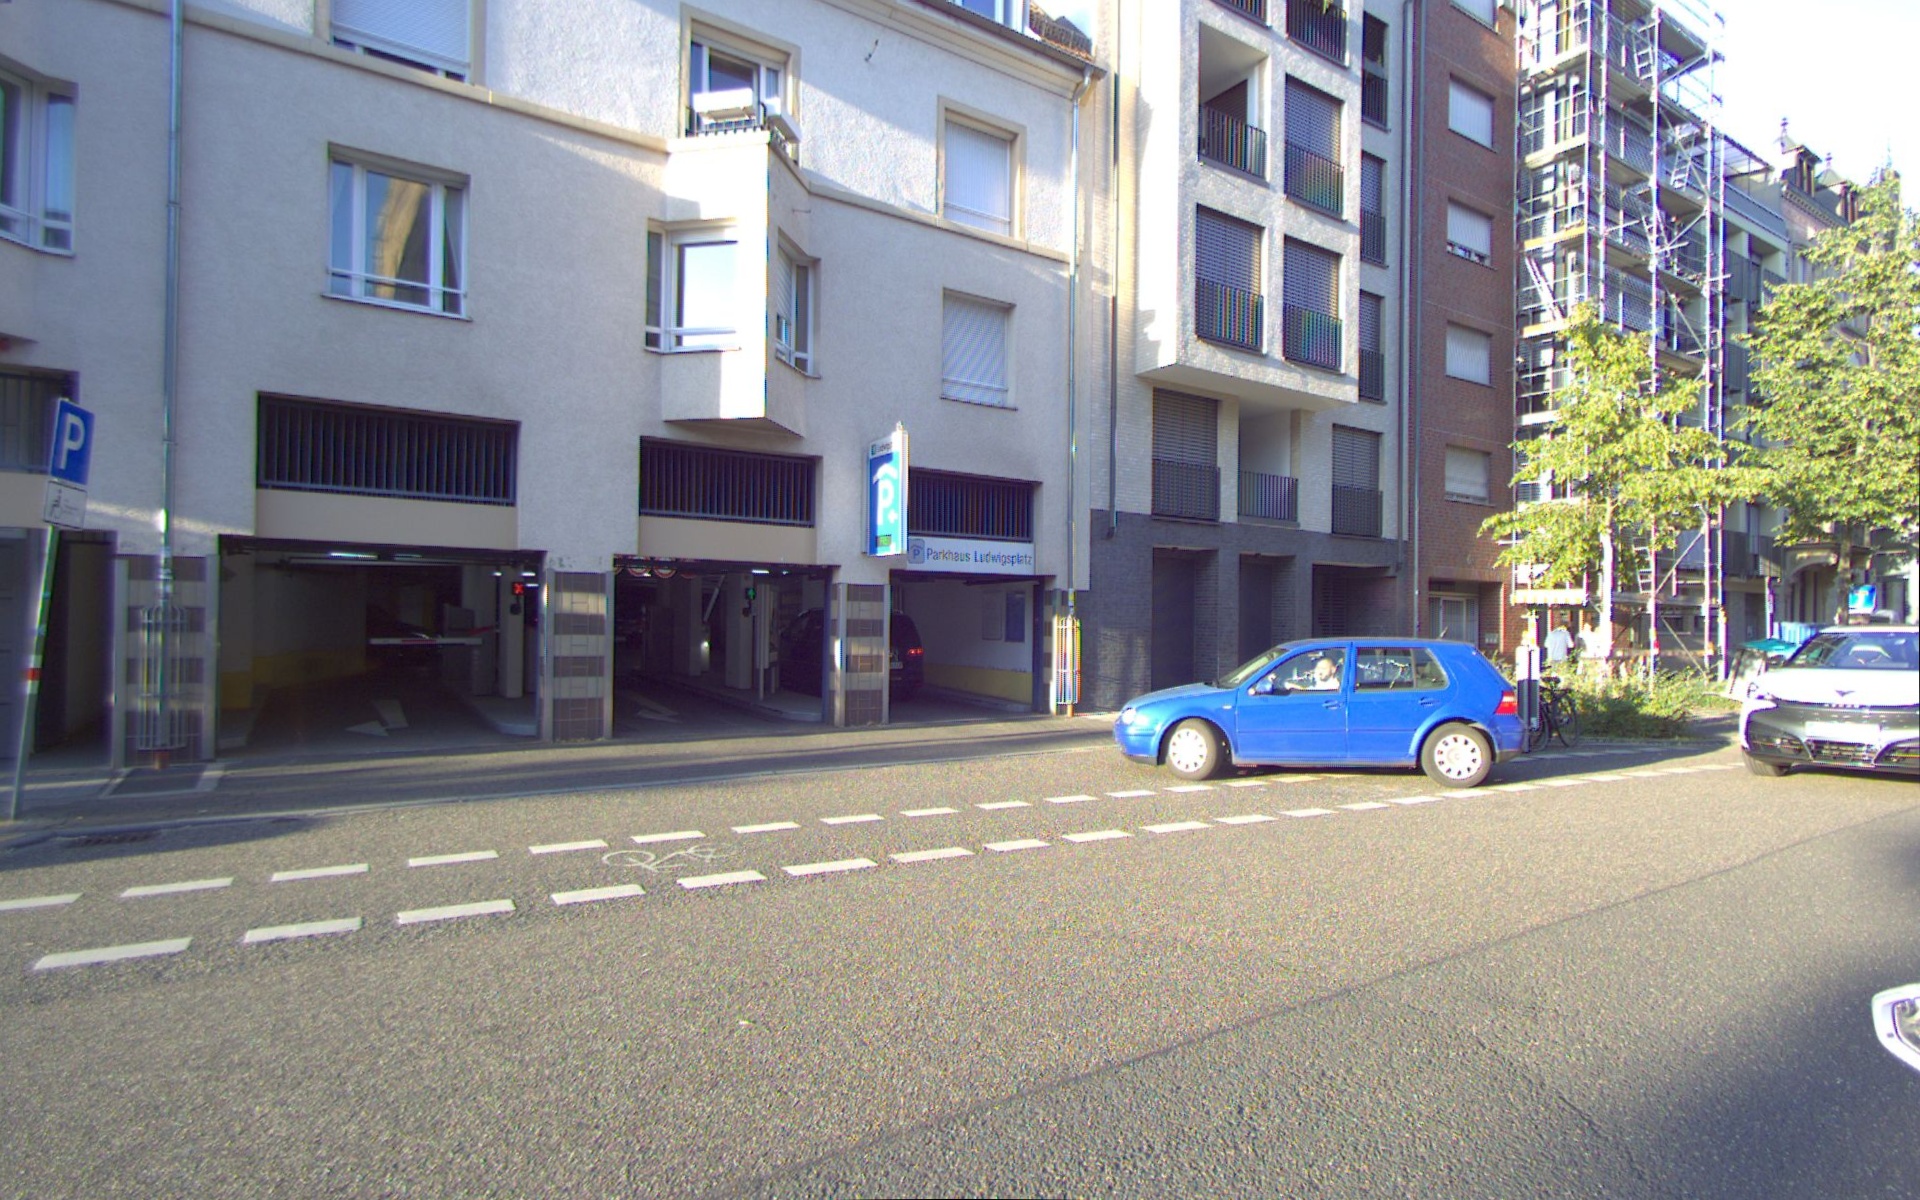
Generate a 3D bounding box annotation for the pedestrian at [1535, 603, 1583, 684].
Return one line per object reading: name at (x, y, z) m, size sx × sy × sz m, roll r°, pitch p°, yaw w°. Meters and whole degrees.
pedestrian at (13.658, 0.997, 22.917) m, size 0.649 × 1.807 × 0.737 m, roll 1°, pitch -2°, yaw -32°

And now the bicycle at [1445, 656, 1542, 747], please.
bicycle at (7.351, 1.366, 13.814) m, size 1.535 × 1.178 × 0.484 m, roll 2°, pitch -1°, yaw -33°

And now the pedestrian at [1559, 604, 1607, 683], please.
pedestrian at (14.509, 1.013, 23.399) m, size 0.650 × 1.807 × 0.737 m, roll 2°, pitch -2°, yaw -34°

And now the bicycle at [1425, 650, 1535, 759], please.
bicycle at (6.357, 1.242, 12.258) m, size 1.535 × 1.237 × 0.494 m, roll 2°, pitch -1°, yaw -33°

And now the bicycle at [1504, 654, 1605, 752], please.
bicycle at (7.783, 1.318, 13.137) m, size 1.535 × 1.194 × 0.504 m, roll 2°, pitch -1°, yaw -33°

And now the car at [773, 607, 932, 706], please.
car at (-2.132, 0.979, 18.973) m, size 1.542 × 1.639 × 3.849 m, roll 1°, pitch -1°, yaw -30°

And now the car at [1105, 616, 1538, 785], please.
car at (3.585, 0.990, 10.638) m, size 4.035 × 1.583 × 1.695 m, roll 0°, pitch -2°, yaw 9°

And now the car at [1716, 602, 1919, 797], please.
car at (9.874, 0.967, 10.582) m, size 4.280 × 1.719 × 1.860 m, roll 2°, pitch -4°, yaw -36°

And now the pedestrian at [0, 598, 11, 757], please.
pedestrian at (-9.896, 0.764, 9.763) m, size 0.523 × 1.593 × 0.779 m, roll 0°, pitch -1°, yaw 7°
